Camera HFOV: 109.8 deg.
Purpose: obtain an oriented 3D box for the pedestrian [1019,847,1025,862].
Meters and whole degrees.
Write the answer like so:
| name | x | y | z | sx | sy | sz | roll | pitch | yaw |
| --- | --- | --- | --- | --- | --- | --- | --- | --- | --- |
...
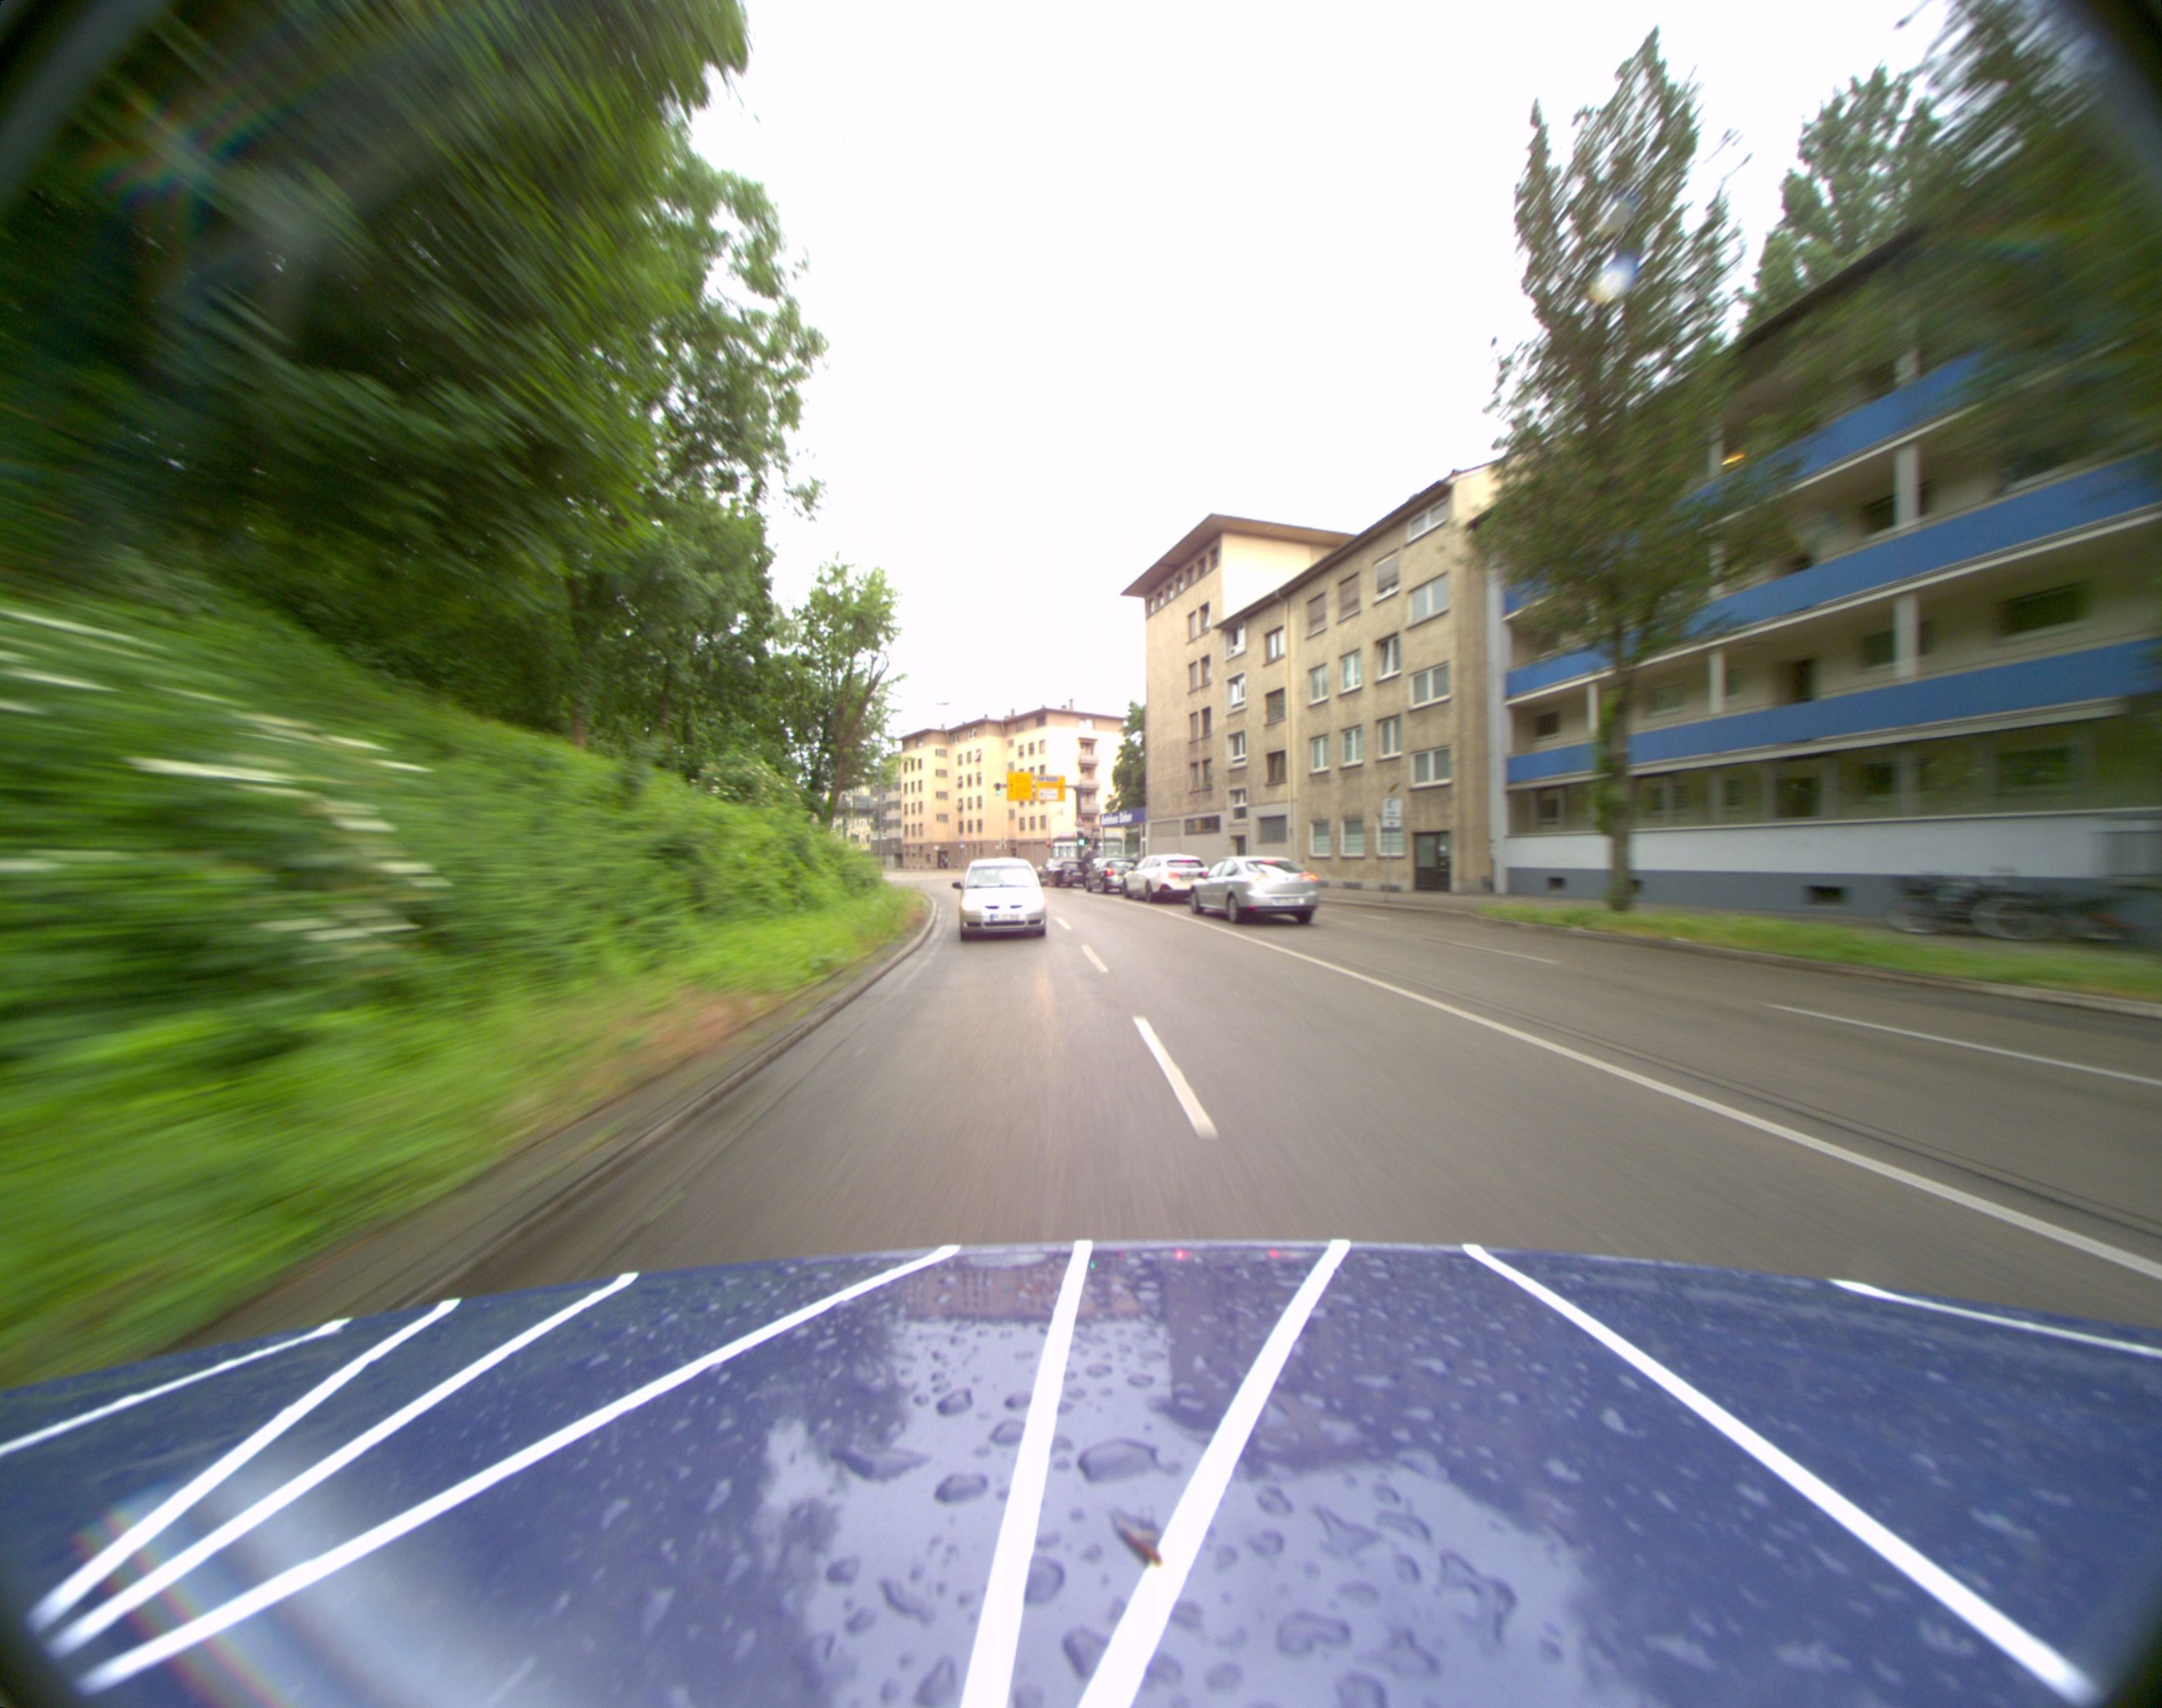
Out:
| name | x | y | z | sx | sy | sz | roll | pitch | yaw |
| --- | --- | --- | --- | --- | --- | --- | --- | --- | --- |
| pedestrian | -6.539 | 0.043 | 84.368 | 0.582 | 1.629 | 0.617 | -1 | 1 | -13 |

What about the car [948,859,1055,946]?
| name | x | y | z | sx | sy | sz | roll | pitch | yaw |
| --- | --- | --- | --- | --- | --- | --- | --- | --- | --- |
| car | -1.807 | 0.895 | 16.053 | 1.754 | 1.510 | 3.996 | -3 | 0 | -12 |

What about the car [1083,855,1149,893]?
| name | x | y | z | sx | sy | sz | roll | pitch | yaw |
| --- | --- | --- | --- | --- | --- | --- | --- | --- | --- |
| car | 1.346 | 0.783 | 31.101 | 1.686 | 1.439 | 3.815 | 0 | 0 | -14 |

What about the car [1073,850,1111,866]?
| name | x | y | z | sx | sy | sz | roll | pitch | yaw |
| --- | --- | --- | --- | --- | --- | --- | --- | --- | --- |
| car | 1.218 | 0.392 | 84.764 | 1.763 | 1.638 | 4.269 | -2 | 2 | -44 |

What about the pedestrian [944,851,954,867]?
| name | x | y | z | sx | sy | sz | roll | pitch | yaw |
| --- | --- | --- | --- | --- | --- | --- | --- | --- | --- |
| pedestrian | -16.454 | 0.641 | 94.669 | 0.812 | 2.002 | 0.856 | -2 | 0 | -35 |

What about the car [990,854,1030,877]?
| name | x | y | z | sx | sy | sz | roll | pitch | yaw |
| --- | --- | --- | --- | --- | --- | --- | --- | --- | --- |
| car | -4.931 | 0.762 | 52.317 | 1.792 | 1.487 | 4.209 | 0 | 0 | -19 |

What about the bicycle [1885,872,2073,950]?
| name | x | y | z | sx | sy | sz | roll | pitch | yaw |
| --- | --- | --- | --- | --- | --- | --- | --- | --- | --- |
| bicycle | 13.419 | 0.812 | 11.433 | 0.614 | 1.018 | 1.731 | -1 | 0 | -17 |

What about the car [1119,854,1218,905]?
| name | x | y | z | sx | sy | sz | roll | pitch | yaw |
| --- | --- | --- | --- | --- | --- | --- | --- | --- | --- |
| car | 2.720 | 0.752 | 24.902 | 1.826 | 1.507 | 5.023 | 0 | 0 | -11 |

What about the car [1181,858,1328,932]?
| name | x | y | z | sx | sy | sz | roll | pitch | yaw |
| --- | --- | --- | --- | --- | --- | --- | --- | --- | --- |
| car | 3.820 | 0.827 | 17.574 | 1.758 | 1.417 | 4.533 | -1 | 0 | -9 |

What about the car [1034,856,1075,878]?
| name | x | y | z | sx | sy | sz | roll | pitch | yaw |
| --- | --- | --- | --- | --- | --- | --- | --- | --- | --- |
| car | -1.849 | 0.850 | 52.049 | 1.665 | 1.447 | 3.993 | 0 | 0 | -19 |

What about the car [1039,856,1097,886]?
| name | x | y | z | sx | sy | sz | roll | pitch | yaw |
| --- | --- | --- | --- | --- | --- | --- | --- | --- | --- |
| car | -0.732 | 0.807 | 38.506 | 1.797 | 1.399 | 4.618 | -1 | 0 | -17 |

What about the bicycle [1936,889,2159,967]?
| name | x | y | z | sx | sy | sz | roll | pitch | yaw |
| --- | --- | --- | --- | --- | --- | --- | --- | --- | --- |
| bicycle | 12.902 | 0.954 | 10.234 | 0.669 | 0.821 | 1.739 | -4 | 1 | -9 |
